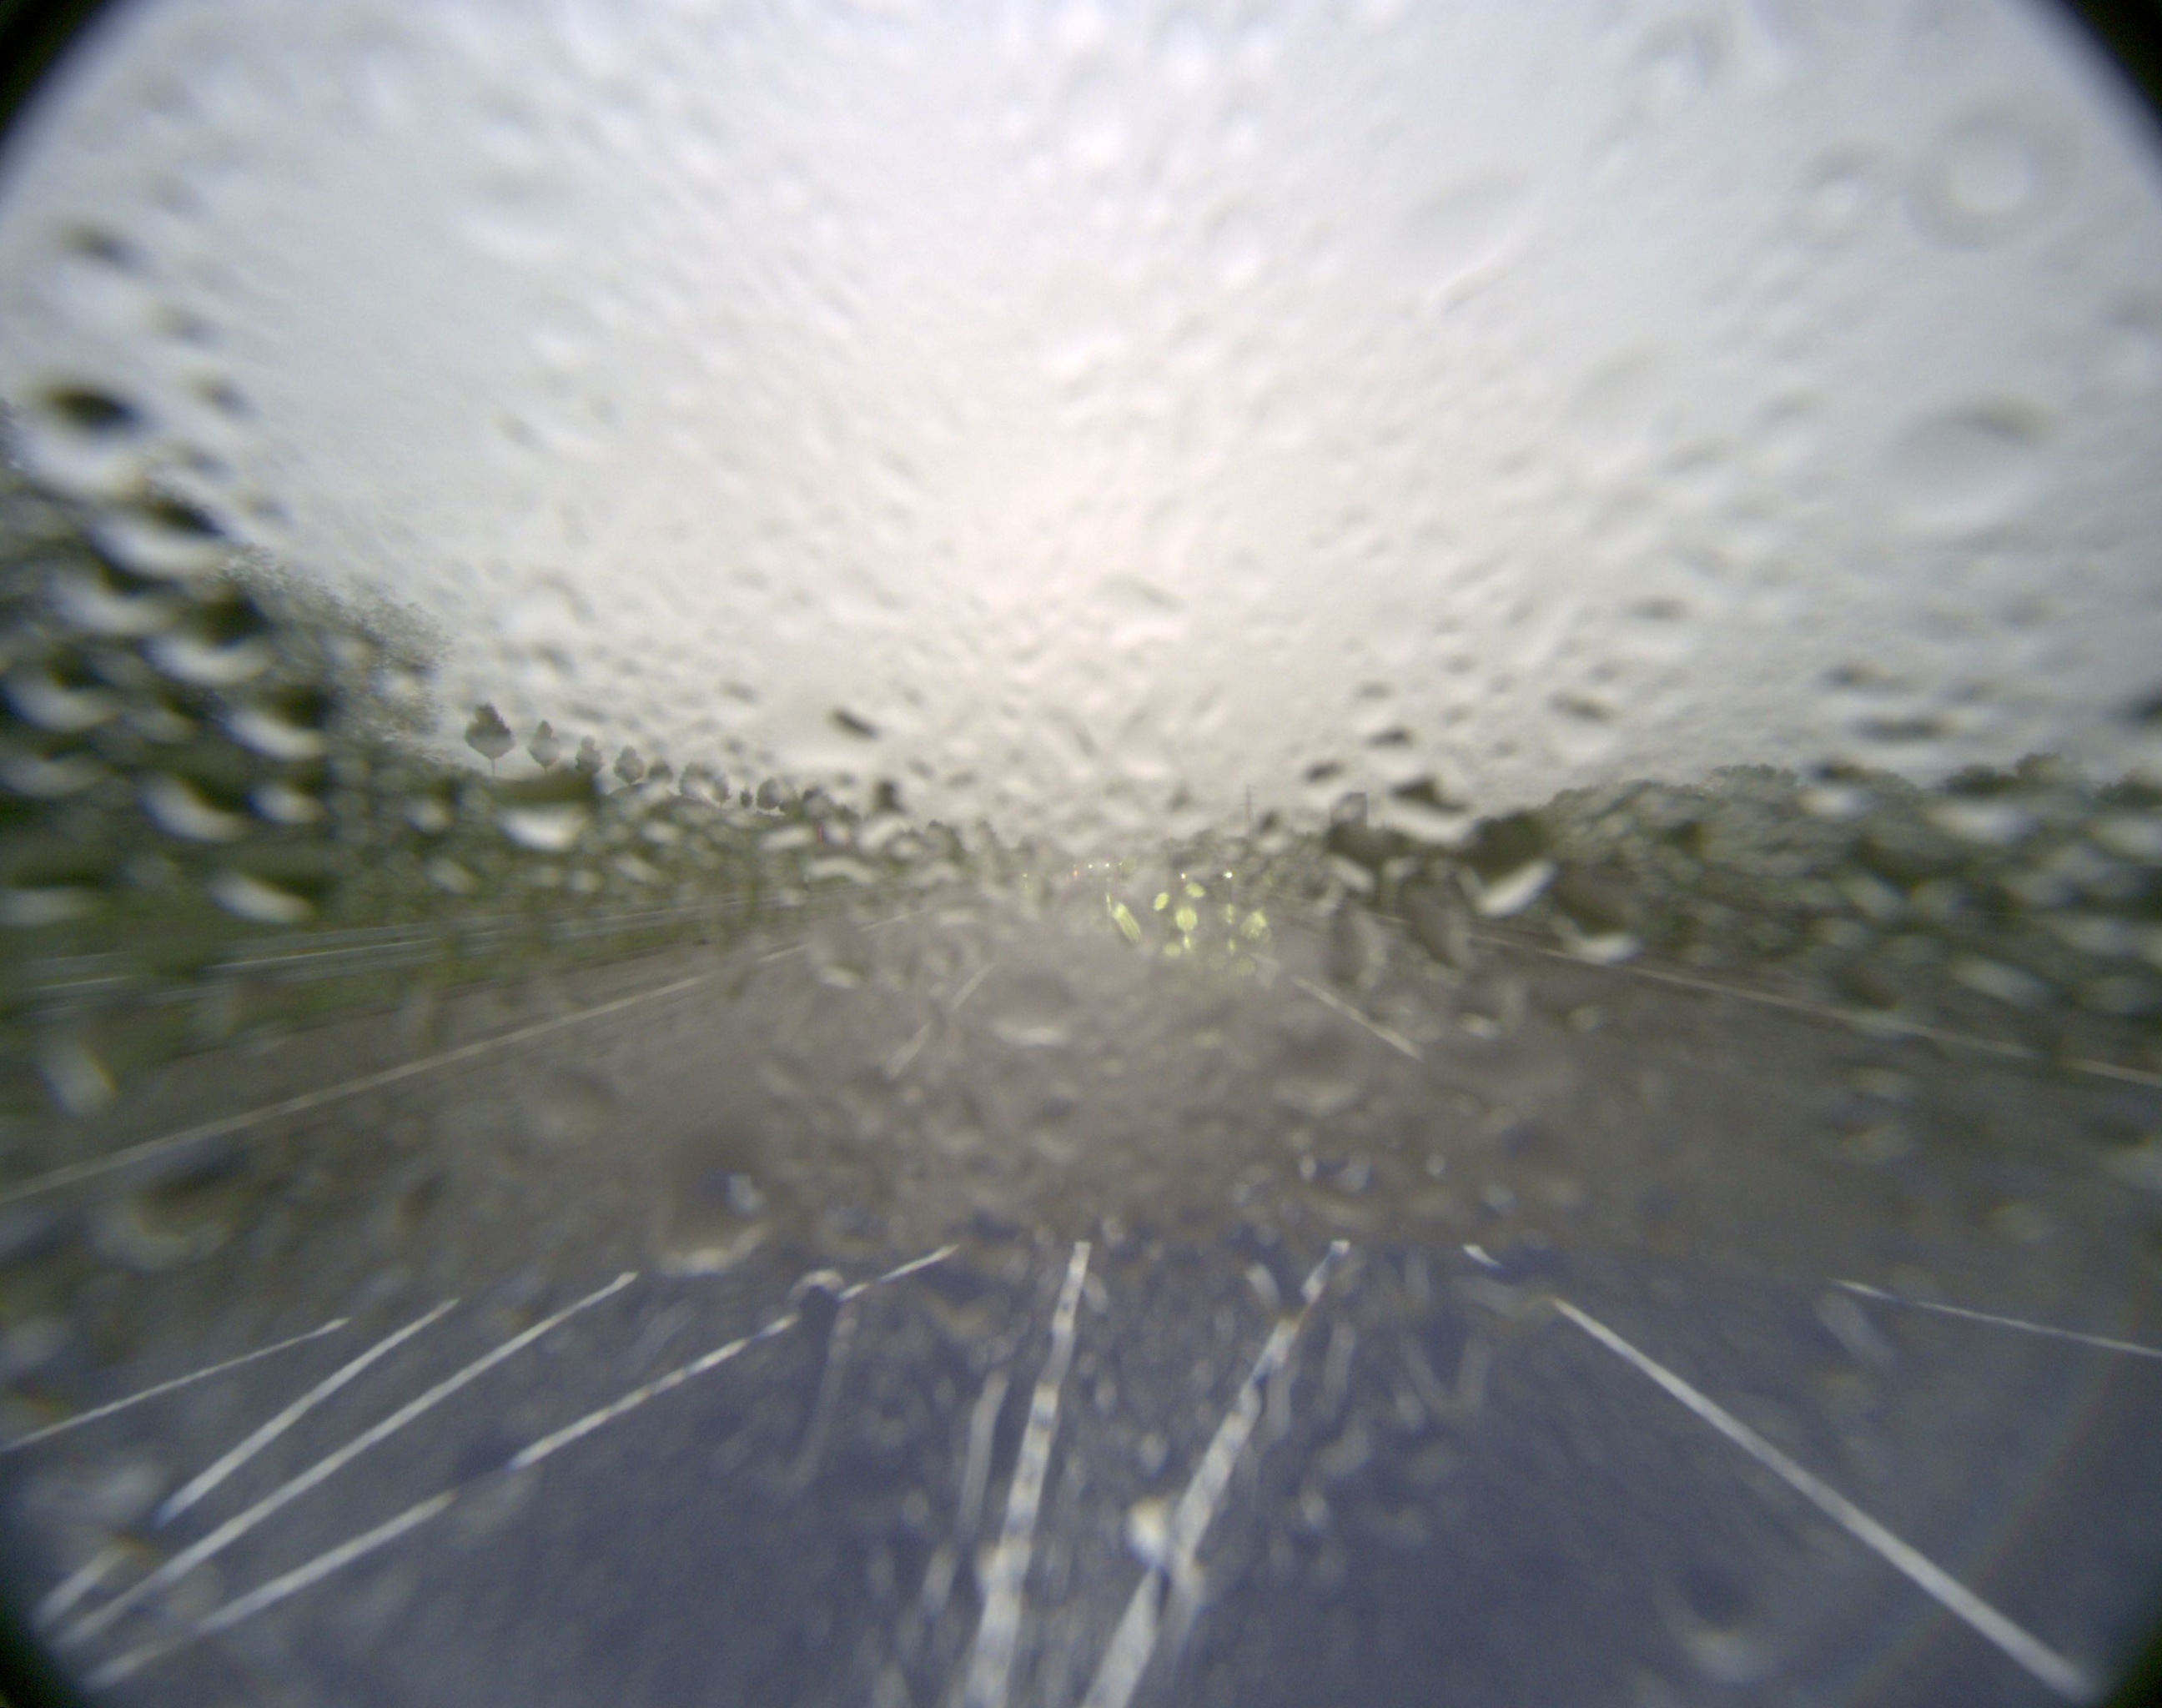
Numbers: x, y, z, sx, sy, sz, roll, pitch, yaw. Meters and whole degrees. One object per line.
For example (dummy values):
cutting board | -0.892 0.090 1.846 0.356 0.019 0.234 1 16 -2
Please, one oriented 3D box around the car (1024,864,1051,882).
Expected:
car | -3.338 1.468 59.038 1.753 1.205 4.000 -4 0 1

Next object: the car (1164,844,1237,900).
car | 4.154 0.597 27.046 2.046 1.763 4.501 -2 0 3

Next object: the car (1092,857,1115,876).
car | 1.825 1.022 63.220 1.753 1.406 4.000 -4 0 1

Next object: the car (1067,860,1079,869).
car | -1.271 1.664 119.431 1.753 1.205 4.000 -4 0 1

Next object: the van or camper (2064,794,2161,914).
van or camper | 22.043 -0.071 12.328 2.611 2.262 7.337 -4 0 0

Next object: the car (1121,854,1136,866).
car | 6.059 0.727 97.325 1.753 1.369 4.000 -4 0 1
